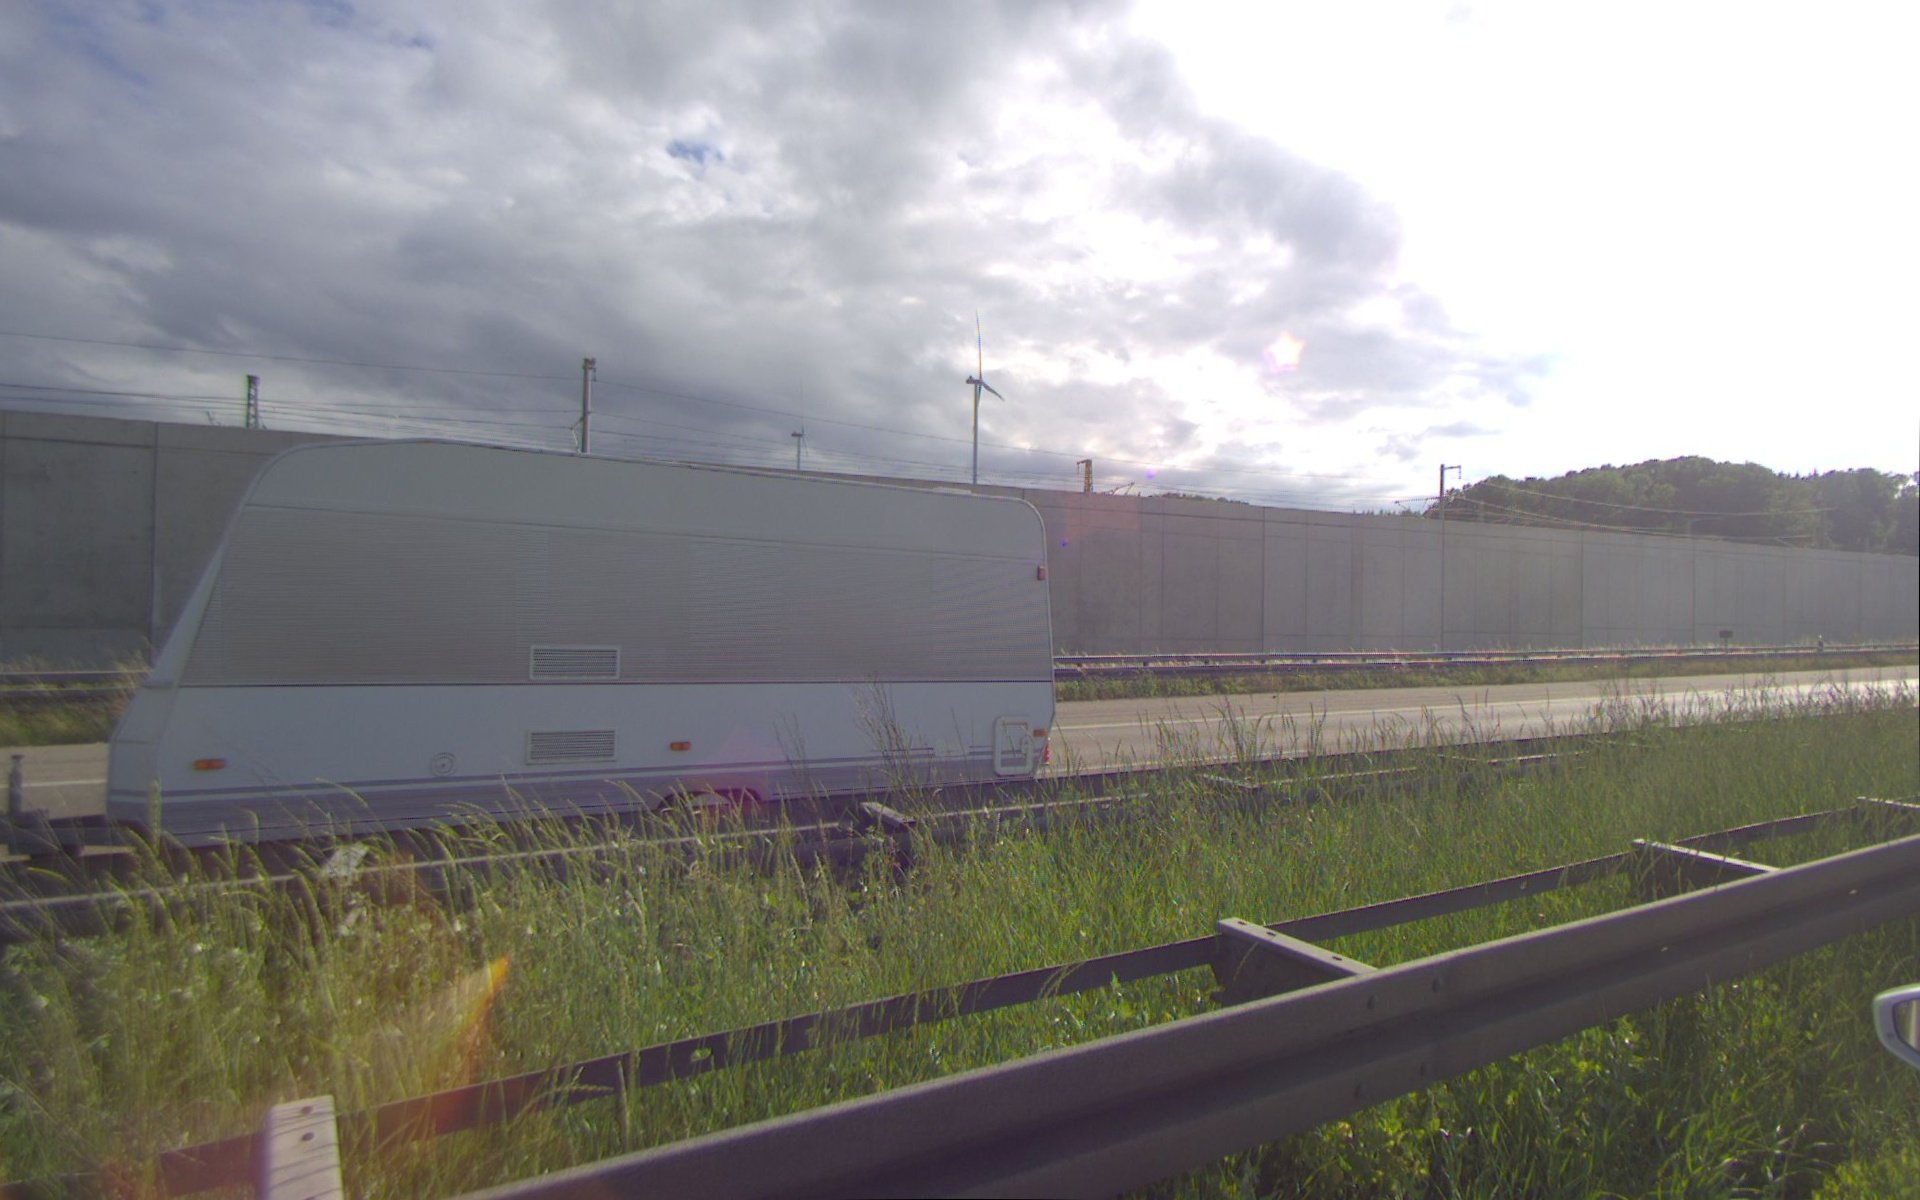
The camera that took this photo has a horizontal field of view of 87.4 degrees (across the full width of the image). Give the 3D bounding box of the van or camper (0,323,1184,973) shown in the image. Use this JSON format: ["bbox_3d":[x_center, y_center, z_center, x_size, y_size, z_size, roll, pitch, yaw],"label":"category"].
[{"bbox_3d":[-1.889,0.284,6.848,7.088,2.740,2.241,2,-1,-31],"label":"van or camper"}]
